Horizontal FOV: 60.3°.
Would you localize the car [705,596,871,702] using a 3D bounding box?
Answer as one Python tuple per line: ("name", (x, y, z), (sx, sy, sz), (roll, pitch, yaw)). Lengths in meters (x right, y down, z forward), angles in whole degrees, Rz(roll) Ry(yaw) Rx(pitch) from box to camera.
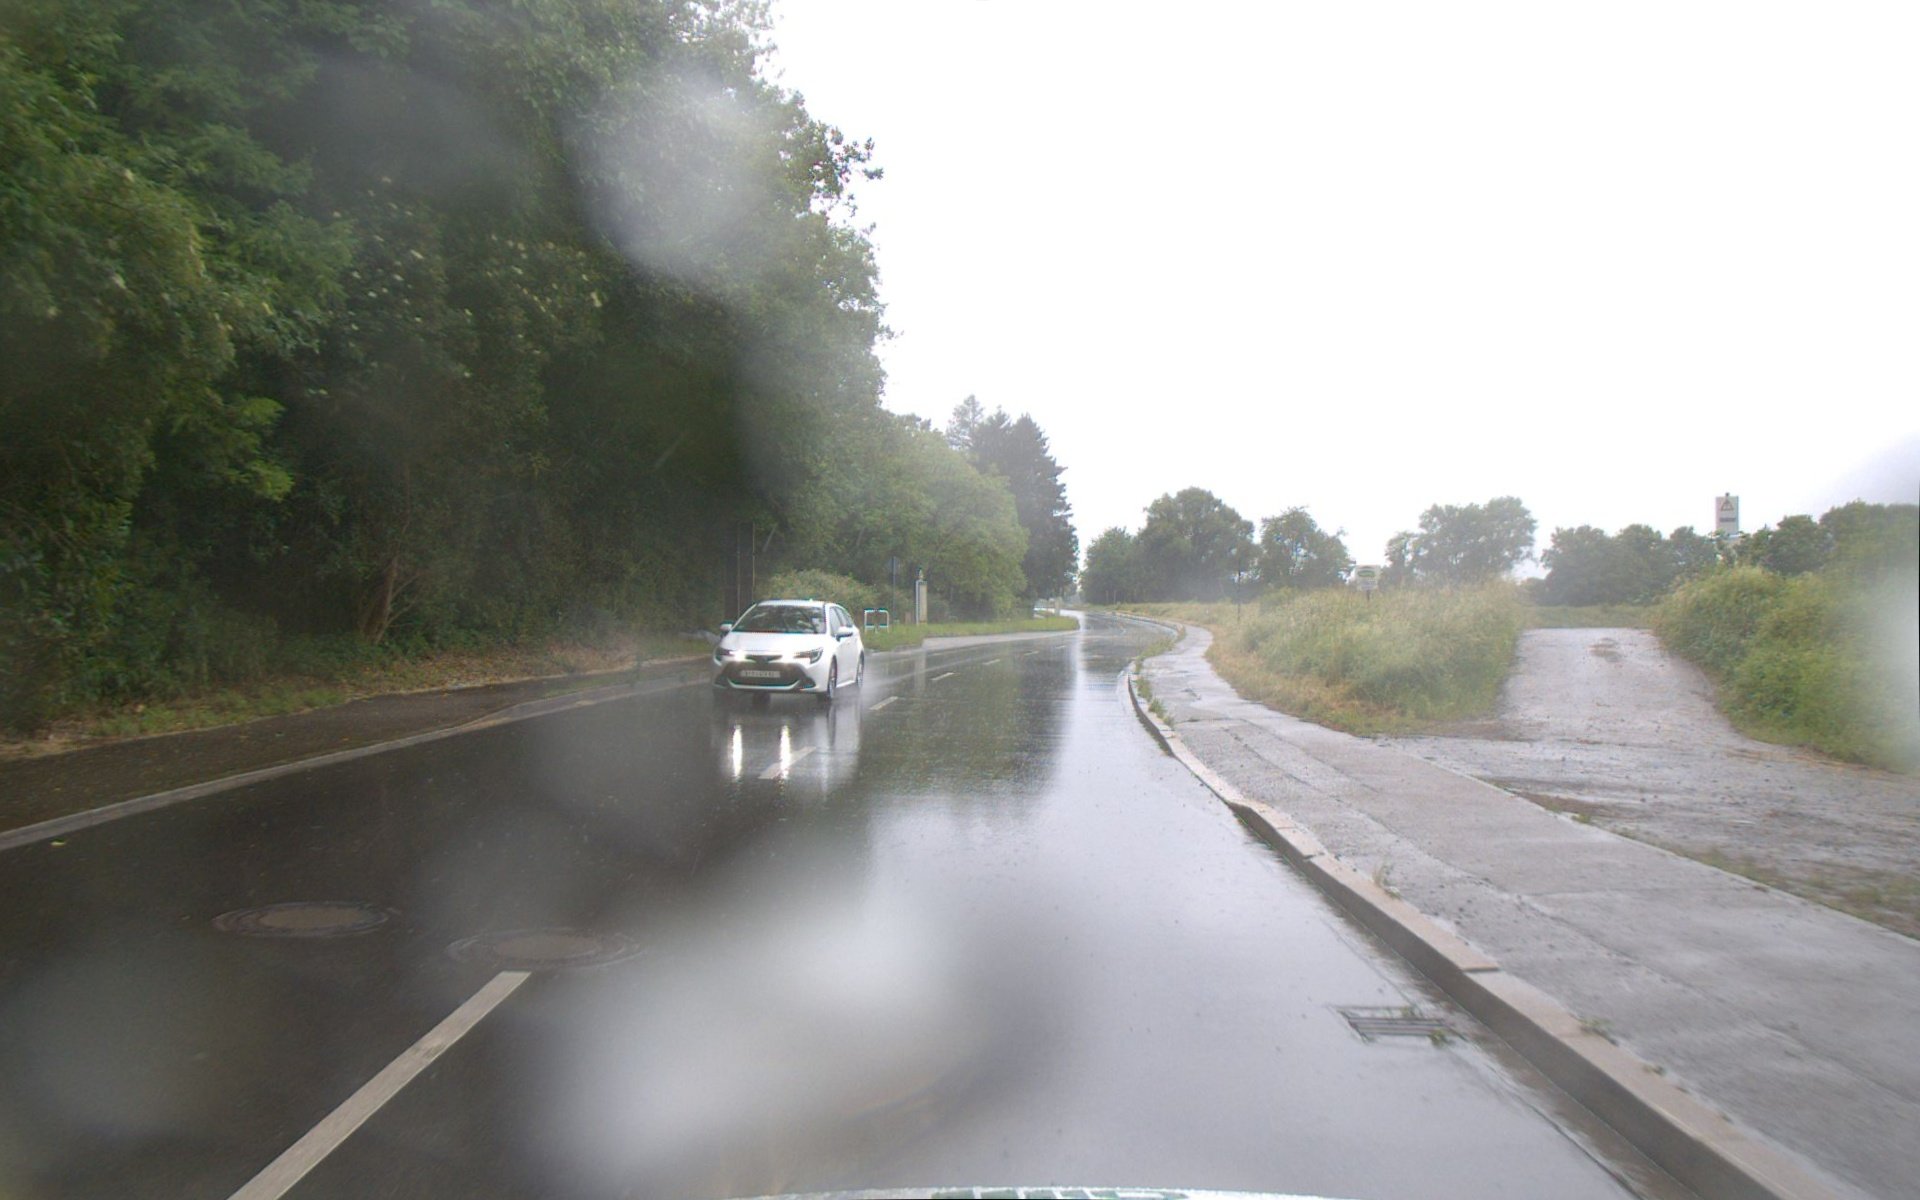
("car", (-2.509, 0.674, 25.201), (1.749, 1.443, 4.636), (1, 0, 3))
